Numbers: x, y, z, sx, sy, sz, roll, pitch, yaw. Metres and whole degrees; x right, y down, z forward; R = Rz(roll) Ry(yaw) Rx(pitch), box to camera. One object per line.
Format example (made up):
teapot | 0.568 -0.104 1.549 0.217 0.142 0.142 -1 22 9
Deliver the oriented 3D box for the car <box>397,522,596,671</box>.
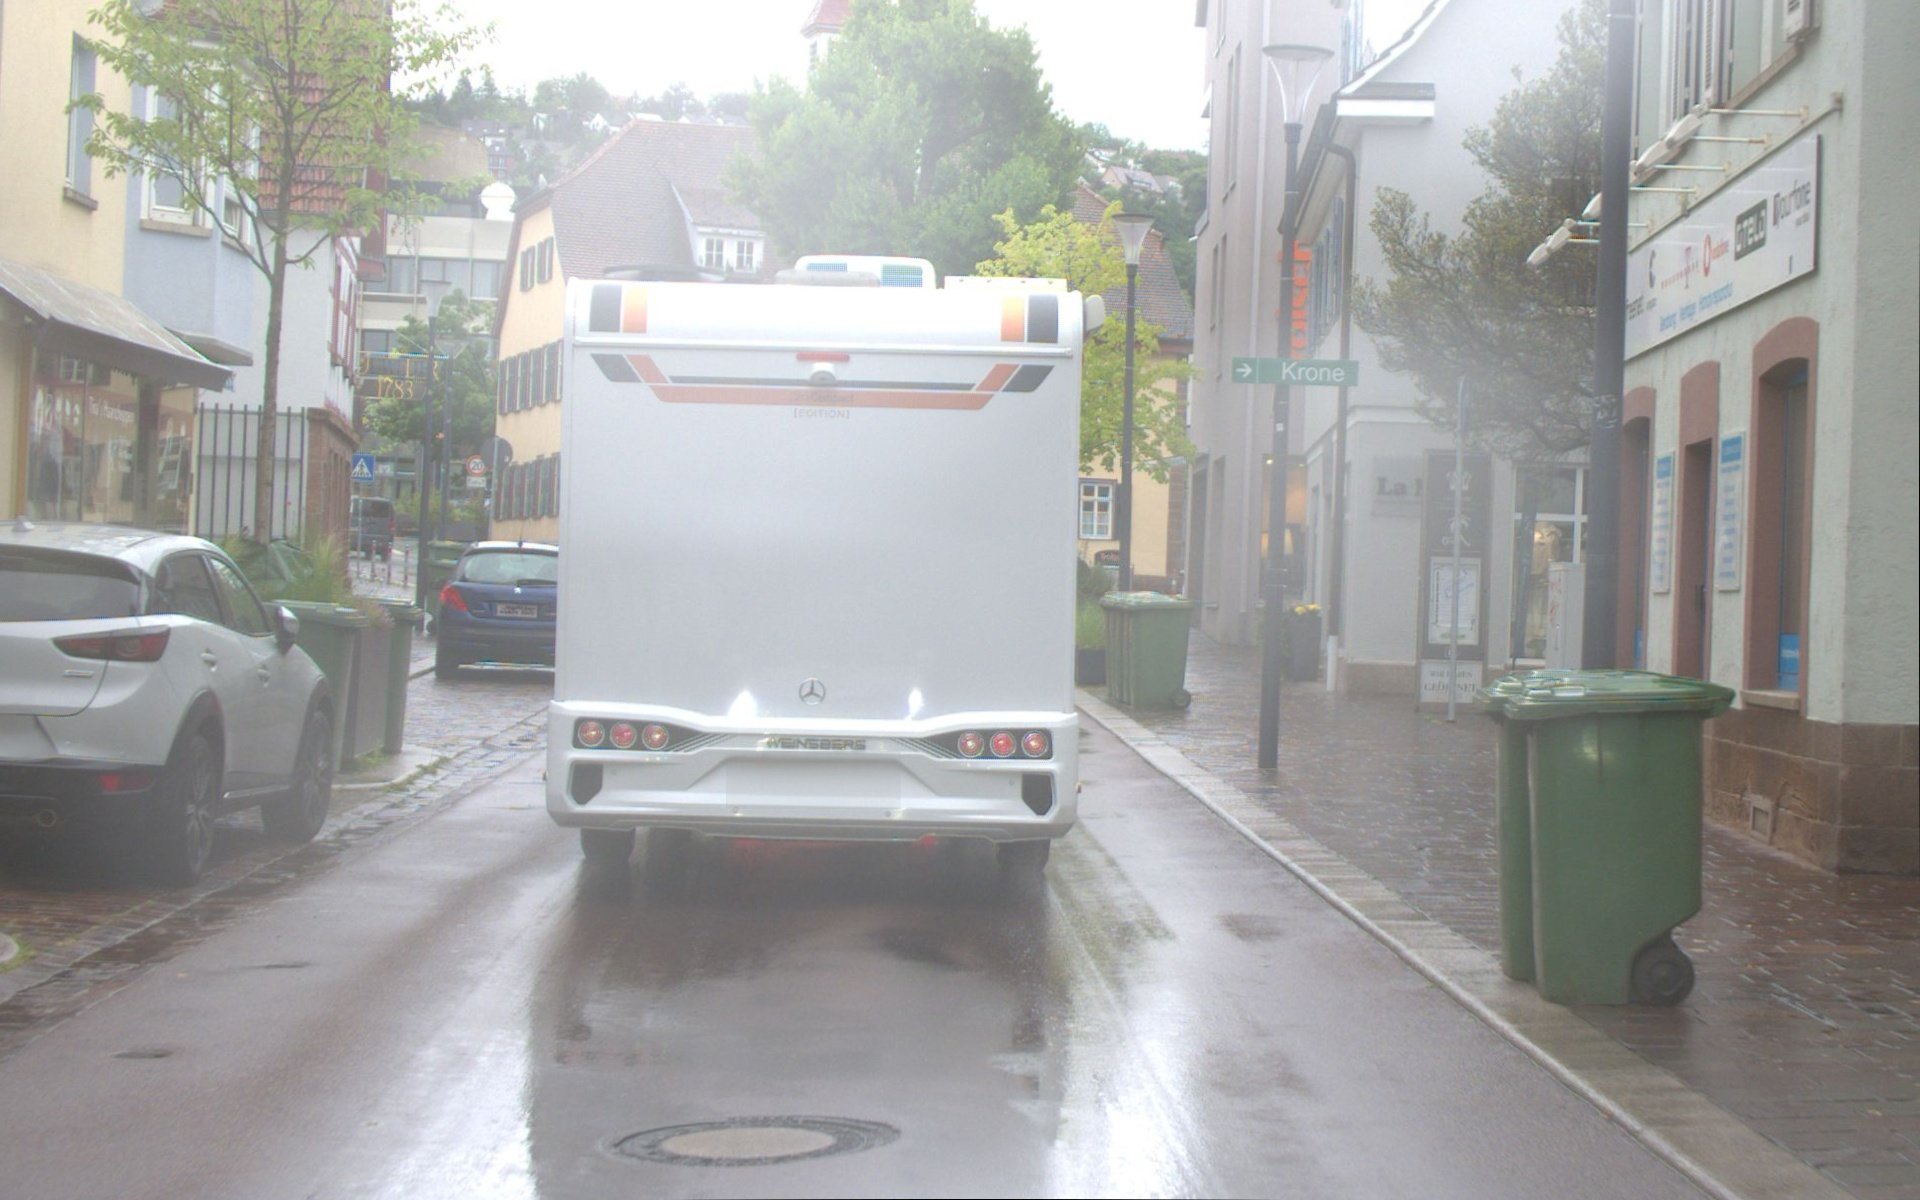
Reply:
car | -5.060 -0.074 37.831 1.993 1.467 4.001 2 1 -7

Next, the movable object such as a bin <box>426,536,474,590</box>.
movable object such as a bin | -10.089 -0.724 67.974 0.818 1.047 0.700 2 0 -17

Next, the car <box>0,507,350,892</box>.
car | -4.127 0.397 16.095 1.827 1.561 4.000 2 0 -1

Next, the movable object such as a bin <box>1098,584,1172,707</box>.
movable object such as a bin | 1.781 0.462 34.967 0.678 1.228 0.565 2 0 -2

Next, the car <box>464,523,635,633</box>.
car | -6.352 -0.361 52.867 1.993 1.489 4.002 3 1 -15

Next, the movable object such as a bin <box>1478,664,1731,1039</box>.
movable object such as a bin | 2.151 0.829 11.528 0.718 1.197 0.573 2 0 1

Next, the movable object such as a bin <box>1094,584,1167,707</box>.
movable object such as a bin | 1.763 0.465 35.542 0.678 1.246 0.565 2 0 -2

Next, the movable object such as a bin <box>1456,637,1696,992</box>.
movable object such as a bin | 2.159 0.740 12.110 0.718 1.197 0.578 2 0 1

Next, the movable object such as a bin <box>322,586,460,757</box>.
movable object such as a bin | -3.915 0.486 23.694 0.815 1.102 0.610 5 -1 -6

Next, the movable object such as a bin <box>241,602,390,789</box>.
movable object such as a bin | -3.925 0.573 20.967 0.814 1.102 0.610 2 0 -6

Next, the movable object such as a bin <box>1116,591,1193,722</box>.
movable object such as a bin | 1.881 0.541 33.263 0.658 1.234 0.621 2 0 -2

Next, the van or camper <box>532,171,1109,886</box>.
van or camper | -0.791 -0.290 17.493 2.325 2.909 6.394 2 0 -4

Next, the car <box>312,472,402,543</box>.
car | -18.182 -2.770 103.494 1.993 2.007 4.001 2 0 -19

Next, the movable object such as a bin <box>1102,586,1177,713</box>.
movable object such as a bin | 1.792 0.492 34.403 0.678 1.252 0.543 2 0 -2
